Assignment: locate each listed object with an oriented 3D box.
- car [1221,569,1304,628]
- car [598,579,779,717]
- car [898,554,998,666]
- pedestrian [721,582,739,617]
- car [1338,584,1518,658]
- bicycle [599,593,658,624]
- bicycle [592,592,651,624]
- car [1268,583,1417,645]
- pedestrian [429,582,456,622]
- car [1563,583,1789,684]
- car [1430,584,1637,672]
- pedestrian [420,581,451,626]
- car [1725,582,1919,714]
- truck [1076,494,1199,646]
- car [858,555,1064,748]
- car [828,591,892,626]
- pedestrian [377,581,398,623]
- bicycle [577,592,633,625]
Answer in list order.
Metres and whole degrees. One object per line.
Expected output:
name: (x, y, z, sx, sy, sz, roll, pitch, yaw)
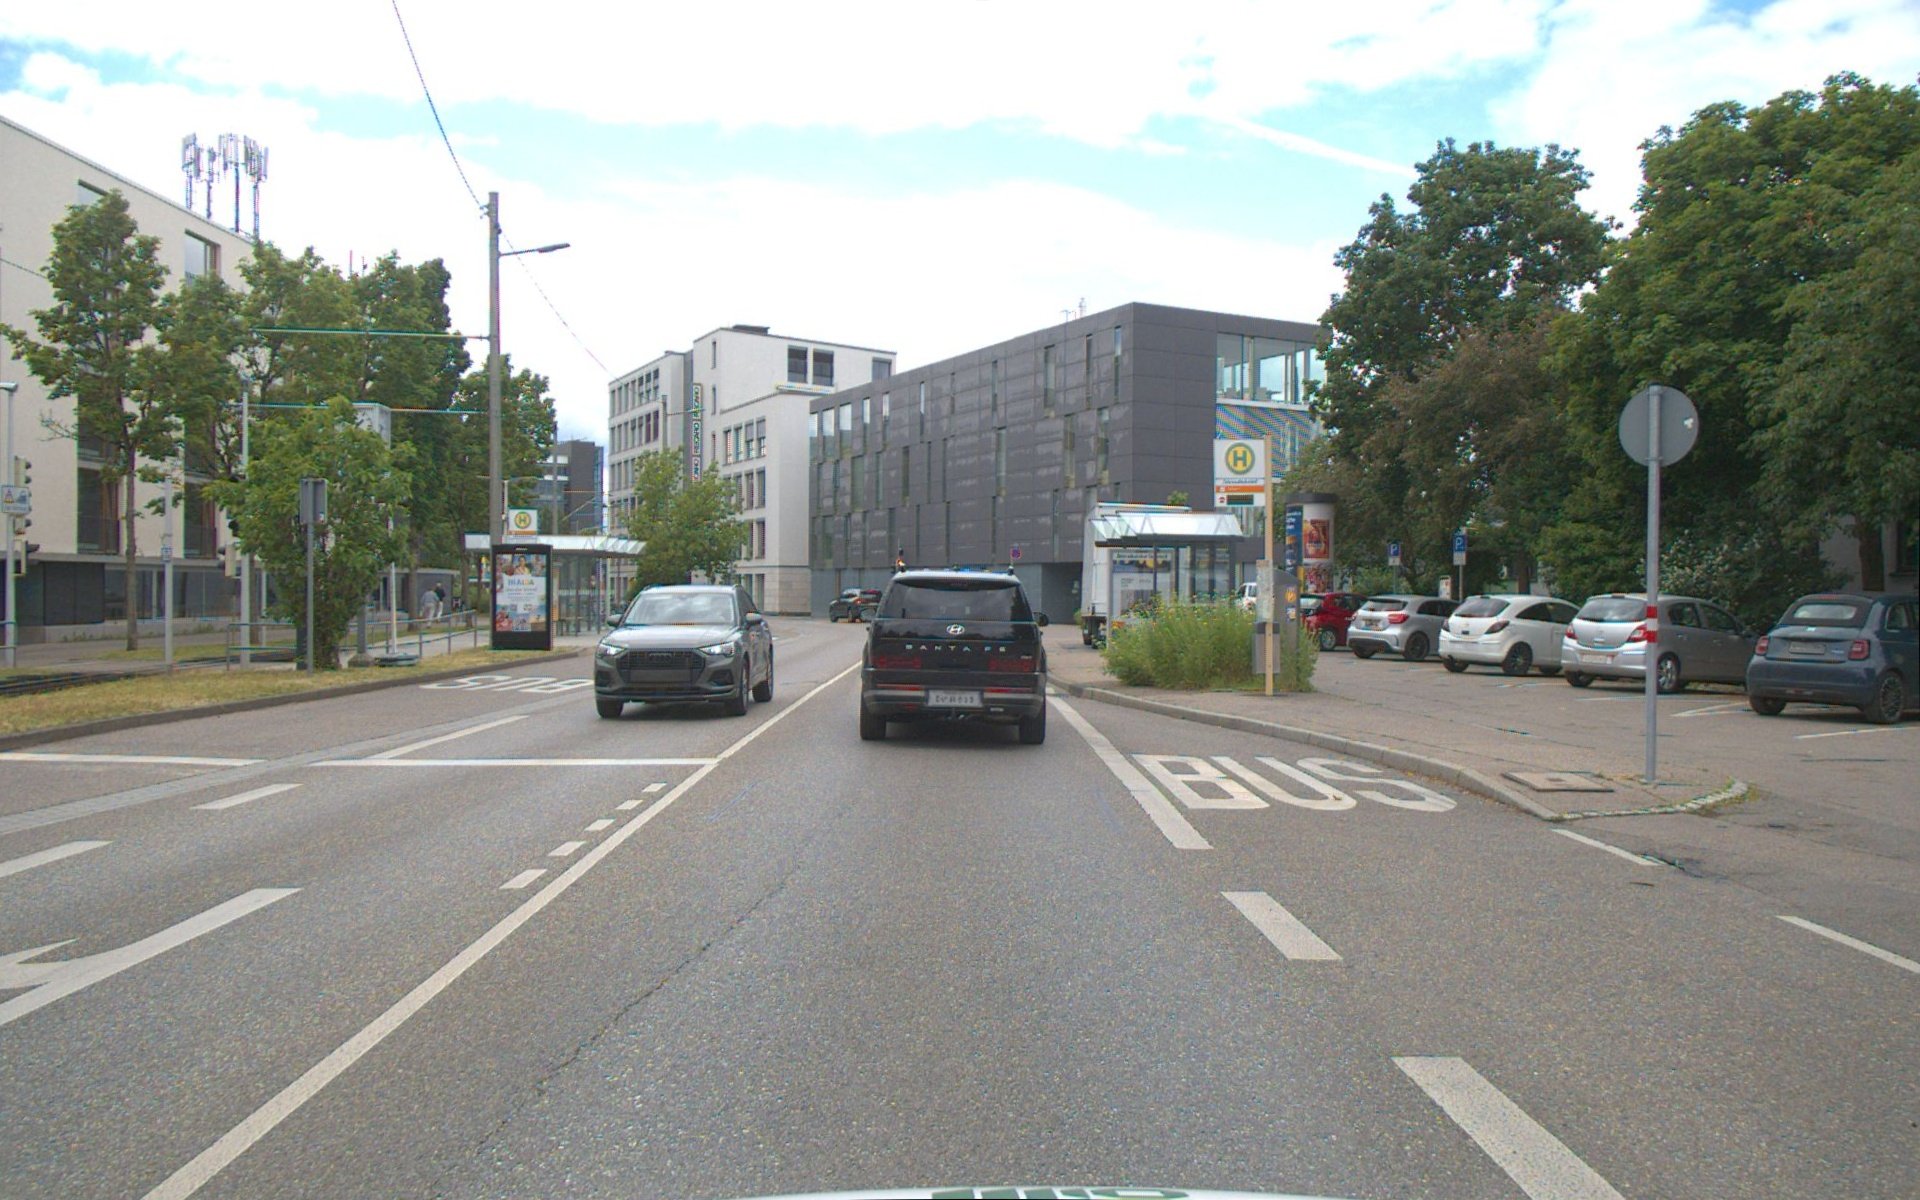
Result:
car: (10.281, -0.029, 56.556, 1.953, 1.870, 4.517, -2, 0, 0)
car: (-3.399, 0.552, 21.427, 1.704, 1.586, 4.182, -1, 0, -1)
car: (-0.251, 0.154, 32.661, 1.817, 2.069, 4.436, 0, 1, -1)
pedestrian: (-12.077, -0.031, 86.759, 0.921, 1.832, 0.589, 0, 0, -12)
car: (10.401, 0.468, 36.712, 3.752, 1.499, 1.780, 2, -1, -31)
bicycle: (-12.543, 0.307, 62.636, 2.055, 1.125, 0.631, 1, 0, 1)
bicycle: (-12.656, 0.297, 61.871, 2.055, 1.125, 0.631, 1, 0, 1)
car: (9.698, 0.353, 41.893, 3.453, 1.480, 1.665, 2, -1, -29)
pedestrian: (-22.782, 0.098, 72.865, 0.900, 1.749, 0.906, 0, 0, -1)
car: (11.152, 0.467, 25.717, 3.471, 1.402, 1.531, -1, 2, -32)
car: (10.656, 0.512, 30.718, 3.596, 1.460, 1.577, -2, -1, -28)
pedestrian: (-20.550, 0.153, 64.796, 0.900, 1.749, 0.906, 0, 0, -1)
car: (11.574, 0.540, 20.671, 3.949, 1.503, 1.859, 0, 0, -33)
truck: (4.477, -0.748, 43.035, 2.520, 3.587, 7.811, 0, 0, 1)
car: (-0.082, 0.464, 17.536, 1.877, 1.755, 4.168, 2, 0, -3)
car: (-5.018, 0.425, 82.498, 1.824, 1.706, 4.342, -1, 0, -24)
pedestrian: (-24.008, 0.086, 69.372, 0.601, 1.724, 0.785, 1, -1, -1)
bicycle: (-12.800, 0.301, 59.644, 1.889, 1.125, 0.587, 1, 0, 1)
